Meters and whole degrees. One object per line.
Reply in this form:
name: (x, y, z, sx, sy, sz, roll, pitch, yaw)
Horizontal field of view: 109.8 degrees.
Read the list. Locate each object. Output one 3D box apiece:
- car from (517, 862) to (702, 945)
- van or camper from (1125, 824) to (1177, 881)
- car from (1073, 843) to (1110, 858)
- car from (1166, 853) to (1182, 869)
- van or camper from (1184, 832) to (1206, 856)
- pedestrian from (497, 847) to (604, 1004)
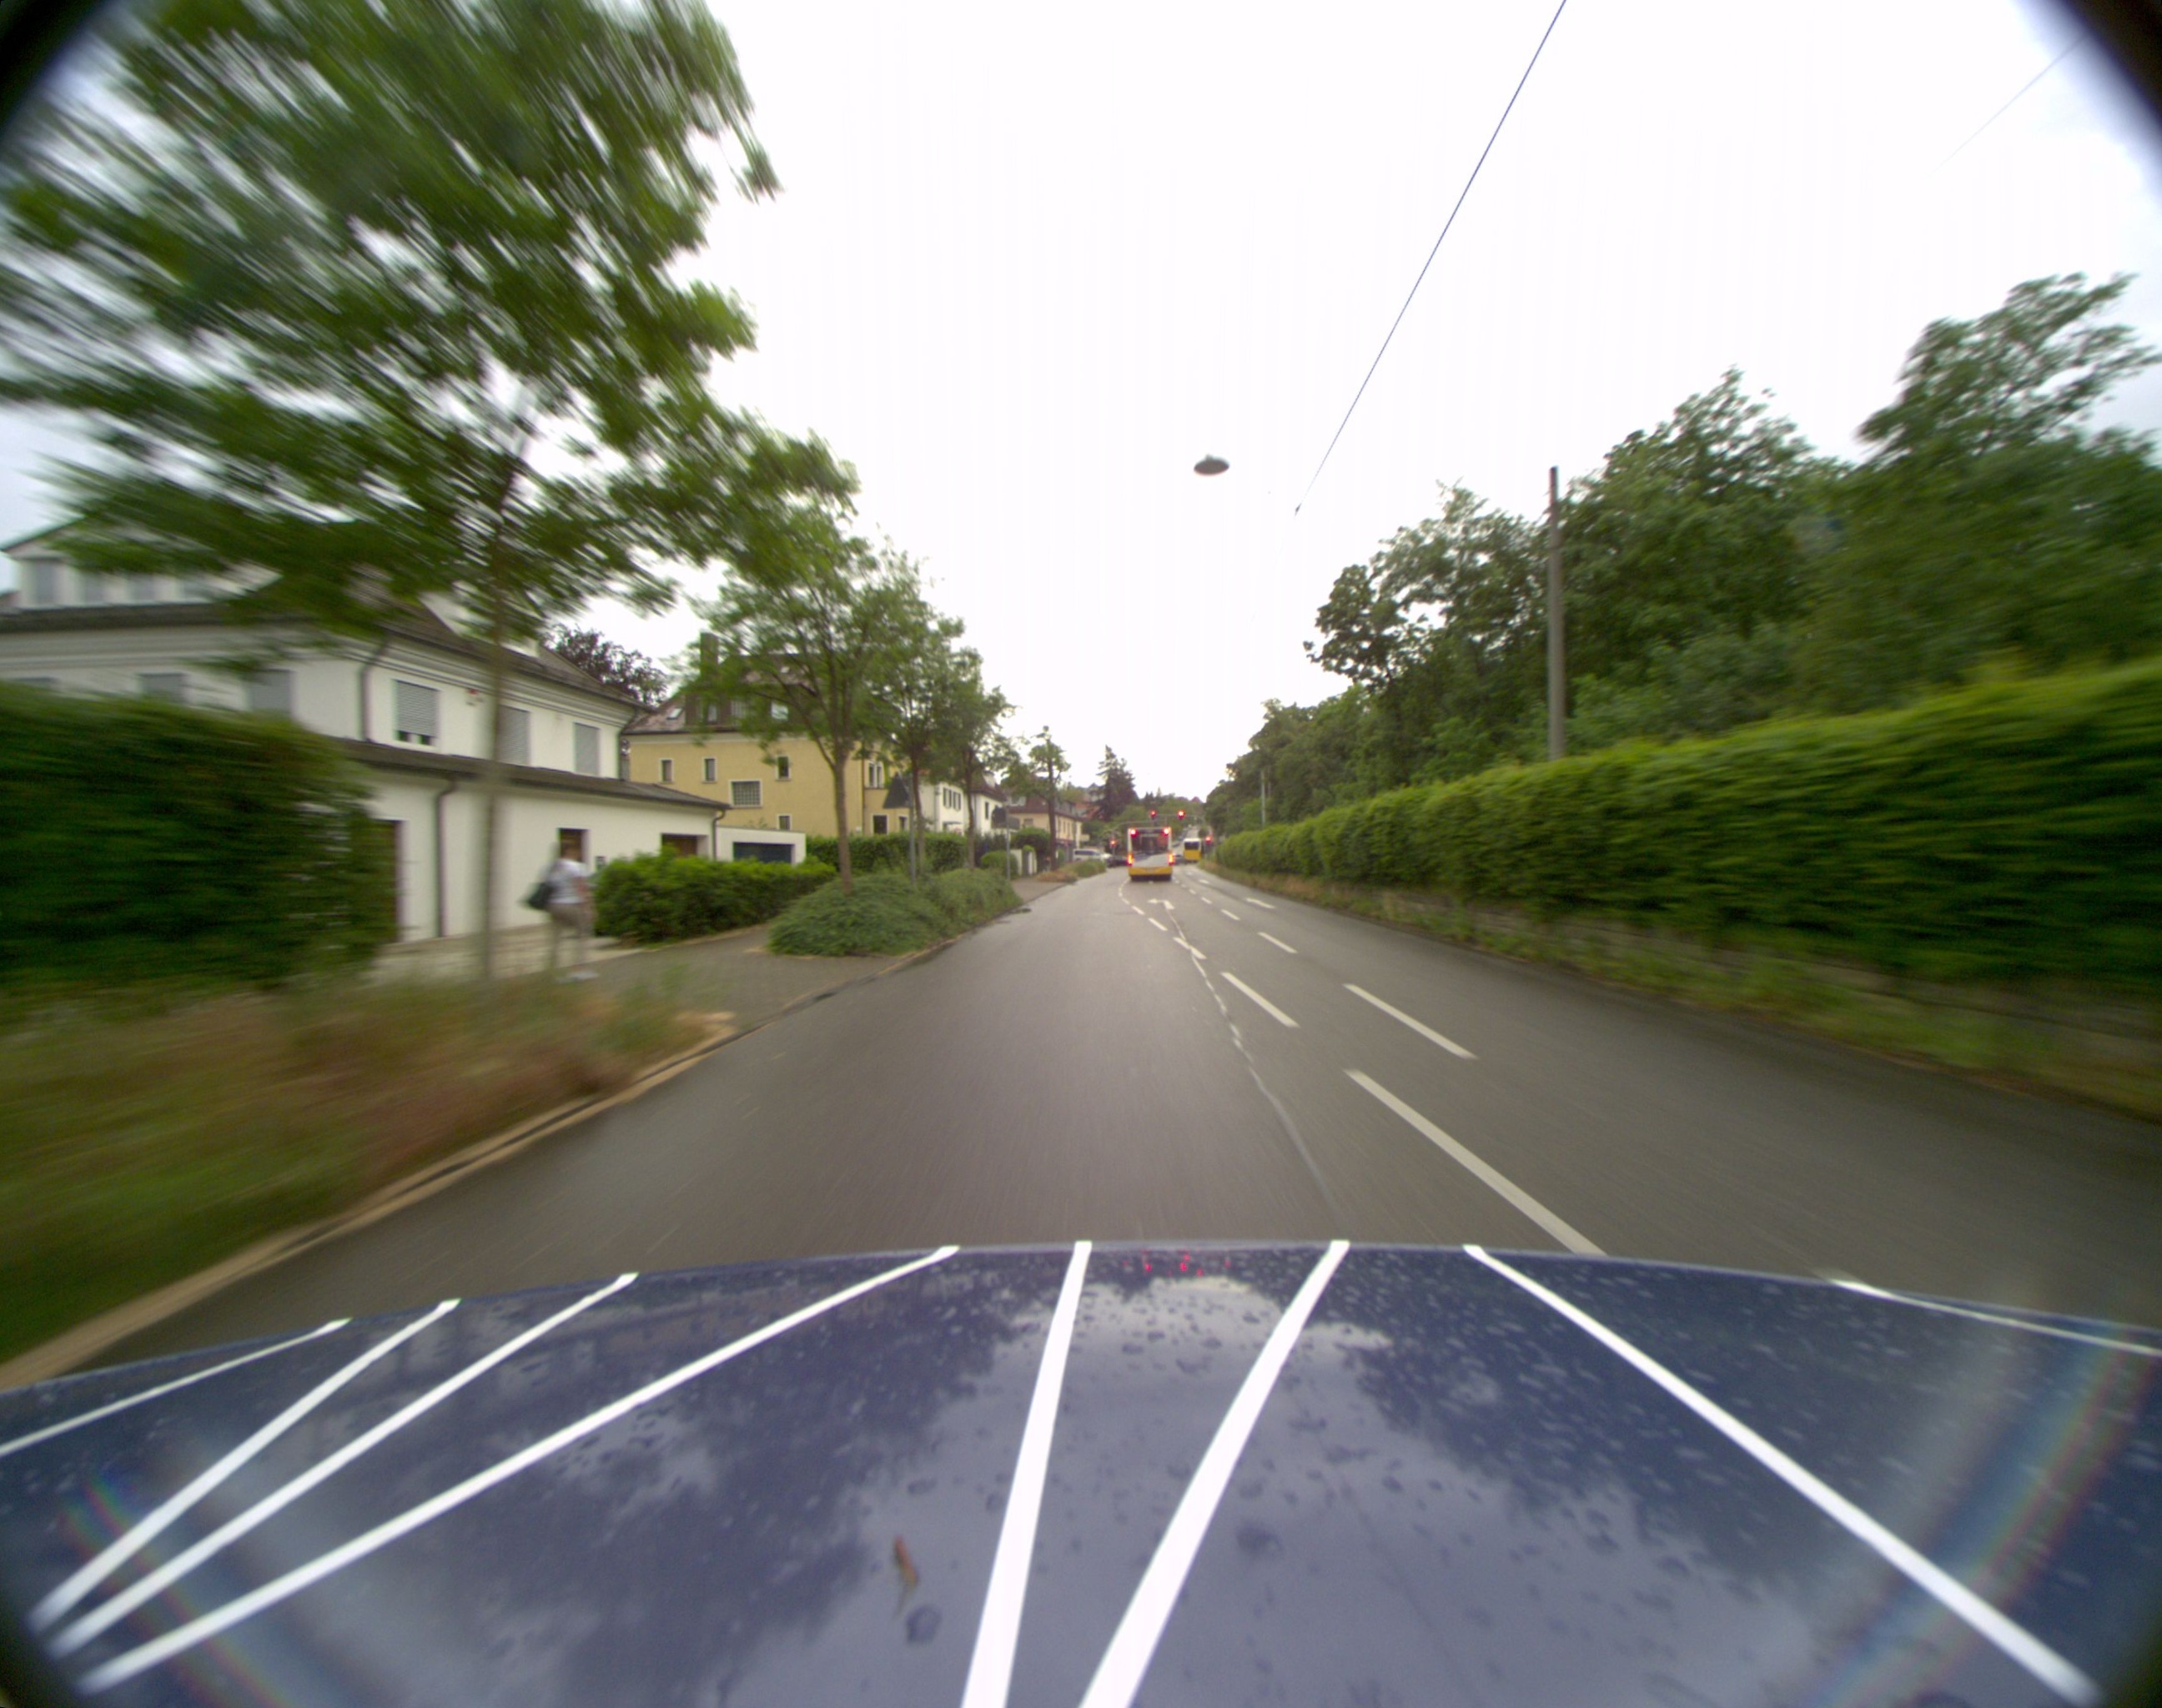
car: (-9.636, 0.942, 15.860, 1.473, 1.411, 3.476, -2, 1, 4)
van or camper: (4.314, -0.130, 46.621, 2.862, 3.160, 6.852, -2, 1, 6)
car: (1.486, -0.492, 107.745, 5.048, 1.967, 2.001, -2, 1, 8)
car: (11.843, 0.820, 96.455, 1.783, 1.879, 3.791, -2, 1, 11)
van or camper: (16.045, -1.462, 107.403, 2.736, 3.208, 6.978, -2, 1, 6)
pedestrian: (-6.118, 0.799, 8.803, 0.634, 1.722, 0.714, -1, 3, 5)
